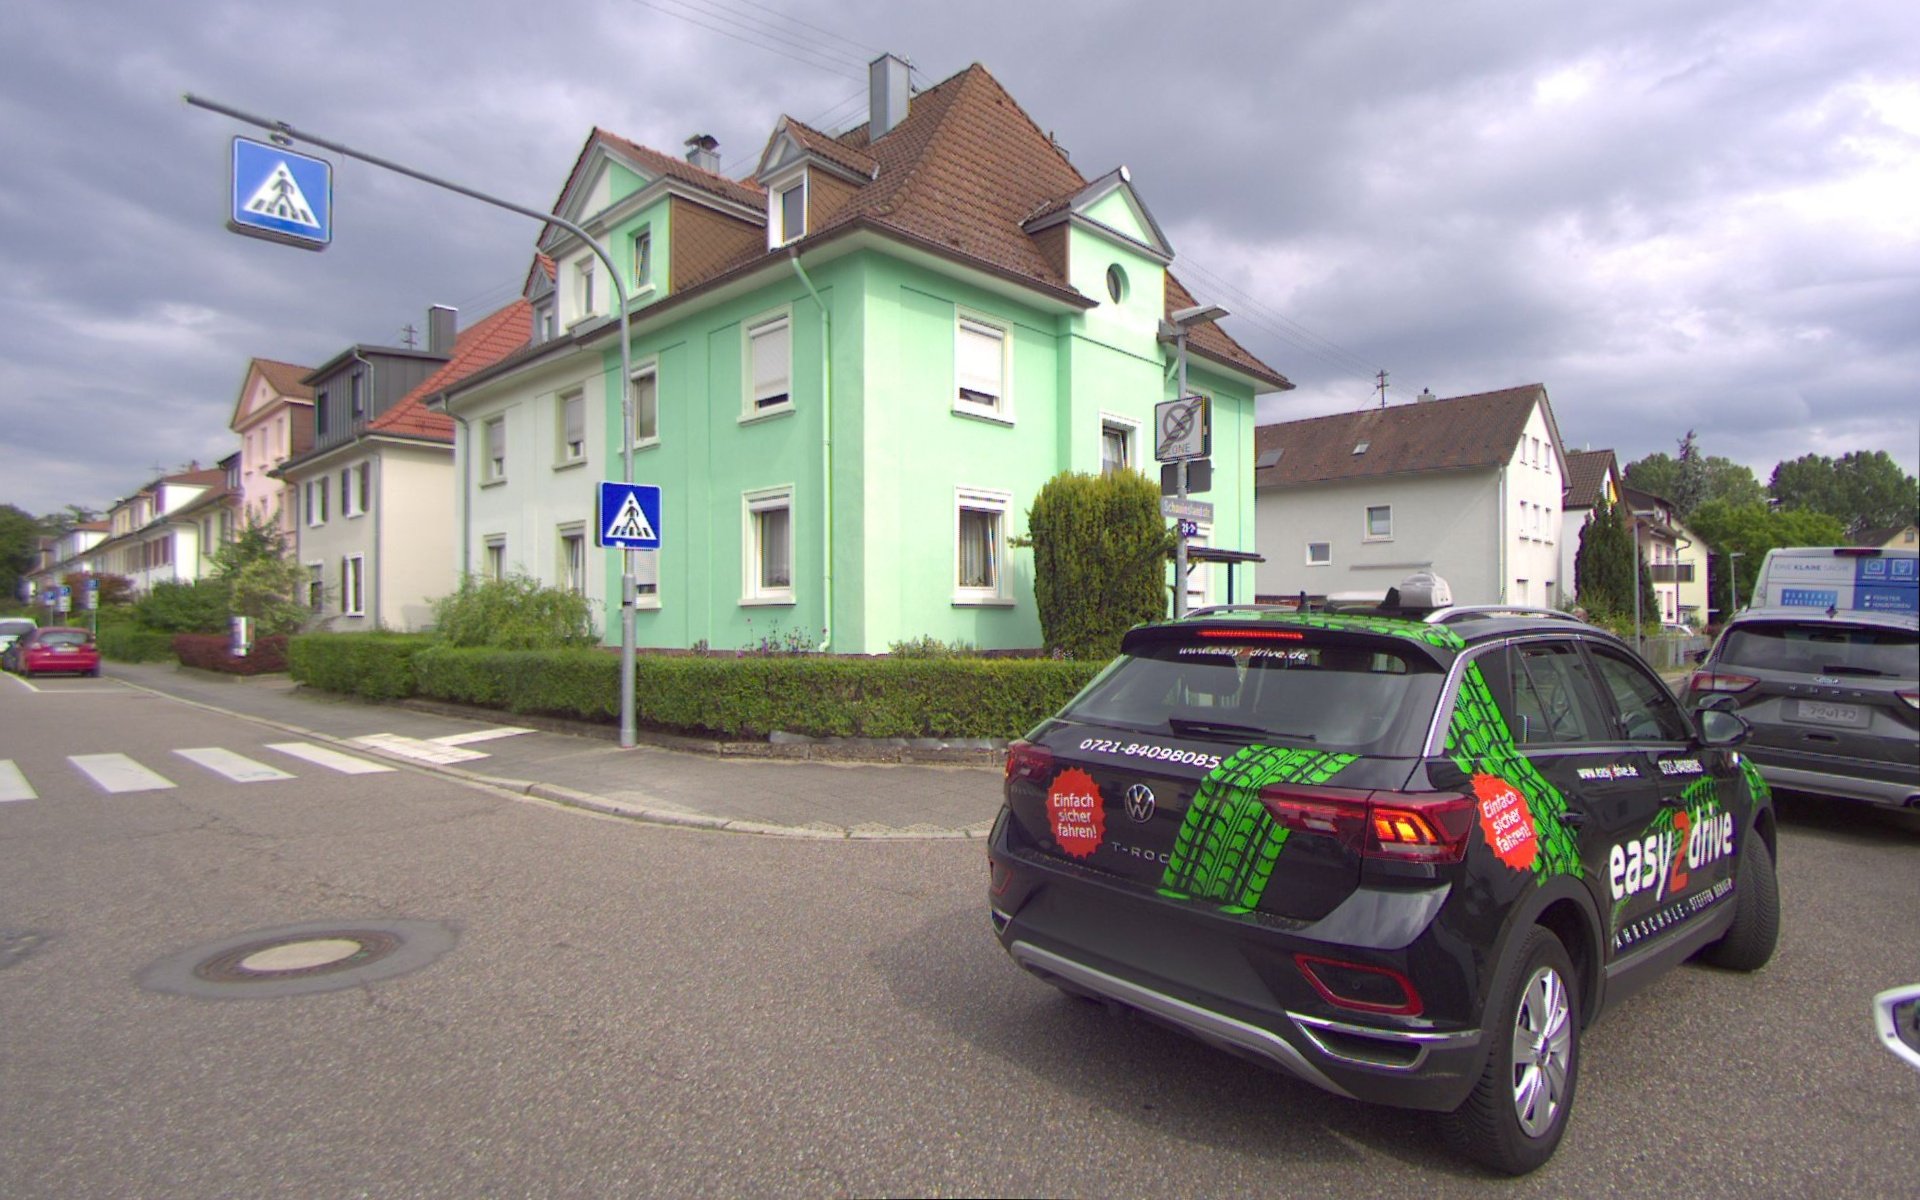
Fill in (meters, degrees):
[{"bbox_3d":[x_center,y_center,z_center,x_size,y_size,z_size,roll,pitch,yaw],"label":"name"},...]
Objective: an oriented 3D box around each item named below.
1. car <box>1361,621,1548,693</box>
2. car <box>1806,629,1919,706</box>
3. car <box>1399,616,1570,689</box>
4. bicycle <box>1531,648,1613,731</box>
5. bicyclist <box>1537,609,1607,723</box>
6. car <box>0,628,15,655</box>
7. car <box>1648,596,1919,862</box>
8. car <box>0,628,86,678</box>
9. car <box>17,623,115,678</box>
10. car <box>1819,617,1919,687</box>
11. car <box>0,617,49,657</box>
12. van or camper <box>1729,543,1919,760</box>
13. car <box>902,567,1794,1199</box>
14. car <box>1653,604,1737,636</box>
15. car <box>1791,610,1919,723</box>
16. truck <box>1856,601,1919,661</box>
[{"bbox_3d":[11.163,1.244,22.768,3.529,1.520,1.580,-1,-2,40],"label":"car"},{"bbox_3d":[19.666,1.388,21.790,1.971,1.475,4.320,-1,-2,41],"label":"car"},{"bbox_3d":[12.963,1.270,24.917,3.529,1.689,1.580,-1,-2,40],"label":"car"},{"bbox_3d":[9.455,1.335,15.486,0.697,1.167,1.862,-2,-2,43],"label":"bicycle"},{"bbox_3d":[9.444,0.998,15.497,0.689,1.688,0.969,-3,-3,44],"label":"bicyclist"},{"bbox_3d":[-59.271,2.533,61.390,3.945,1.595,1.988,-1,-2,44],"label":"car"},{"bbox_3d":[7.356,0.888,8.582,1.971,1.749,4.320,-1,-2,41],"label":"car"},{"bbox_3d":[-31.773,1.772,34.743,3.945,1.595,1.988,-1,-2,44],"label":"car"},{"bbox_3d":[-27.914,1.520,31.327,3.945,1.595,1.988,-1,-2,44],"label":"car"},{"bbox_3d":[25.094,1.358,27.796,1.971,1.772,4.320,-1,-2,41],"label":"car"},{"bbox_3d":[-47.683,1.858,50.879,3.945,1.929,1.988,-1,-2,44],"label":"car"},{"bbox_3d":[12.231,0.632,13.824,2.168,2.491,5.026,-1,-1,43],"label":"van or camper"},{"bbox_3d":[1.892,0.769,4.109,4.013,1.540,1.800,2,-2,-42],"label":"car"},{"bbox_3d":[43.427,1.187,59.378,3.939,1.795,1.862,-1,-3,39],"label":"car"},{"bbox_3d":[16.285,1.097,18.065,1.971,1.795,4.320,-1,-2,41],"label":"car"},{"bbox_3d":[43.986,1.448,47.644,2.106,2.692,4.561,-1,-1,41],"label":"truck"}]
